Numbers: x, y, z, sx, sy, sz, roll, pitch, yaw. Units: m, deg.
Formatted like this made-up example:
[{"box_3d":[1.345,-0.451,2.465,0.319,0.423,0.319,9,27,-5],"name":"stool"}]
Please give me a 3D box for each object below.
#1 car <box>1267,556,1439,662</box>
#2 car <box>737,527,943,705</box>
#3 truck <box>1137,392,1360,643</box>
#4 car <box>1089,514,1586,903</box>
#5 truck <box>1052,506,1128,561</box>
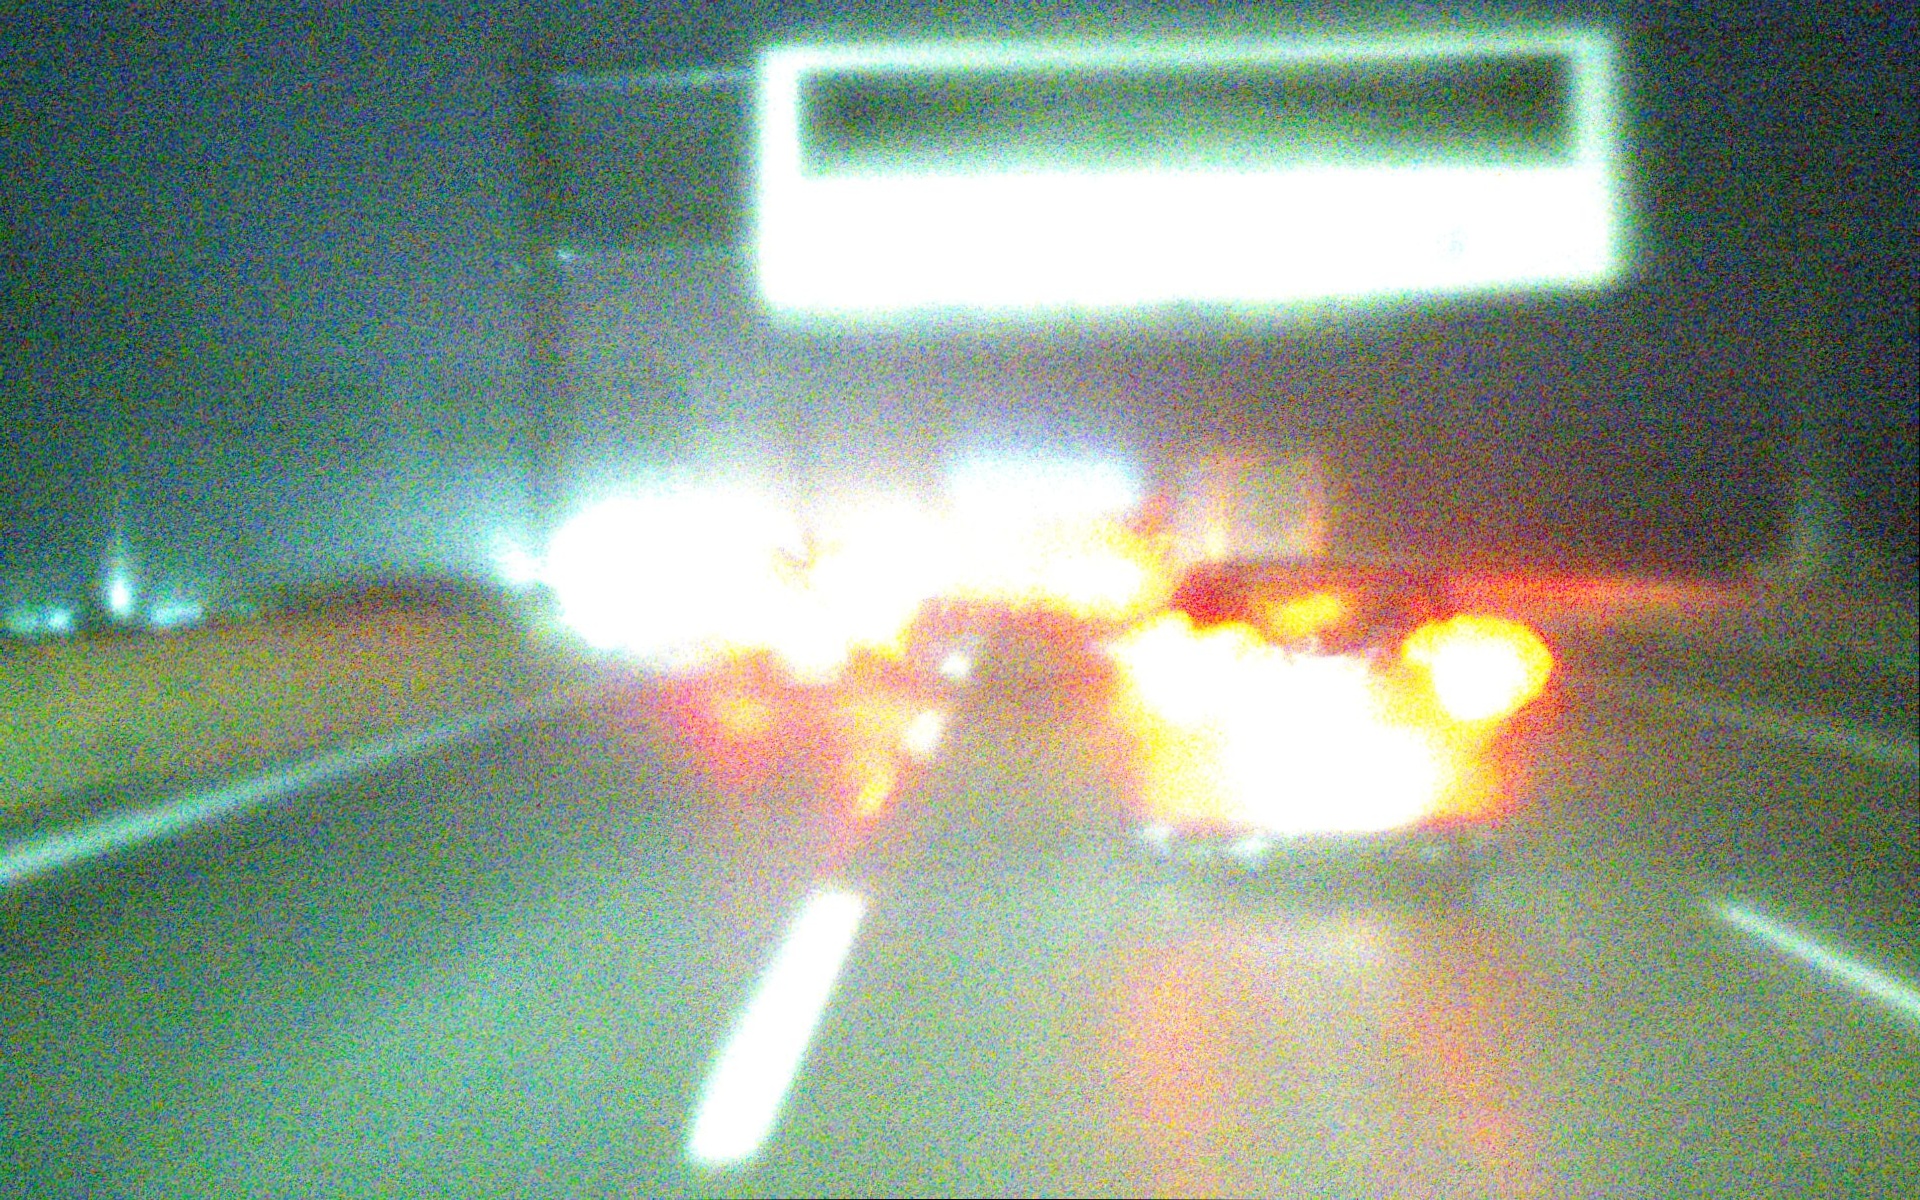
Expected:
[{"box_3d":[5.478,0.092,48.378,1.889,1.349,4.000,1,1,-1],"name":"car"},{"box_3d":[-1.259,0.126,38.161,1.993,1.771,4.887,-2,1,1],"name":"car"},{"box_3d":[6.859,-1.974,84.351,4.167,5.525,13.075,-2,1,0],"name":"truck"},{"box_3d":[1.689,0.431,16.766,1.916,1.589,4.233,-2,1,0],"name":"car"},{"box_3d":[7.558,-3.864,201.020,3.835,3.044,11.006,1,1,-1],"name":"truck"}]
